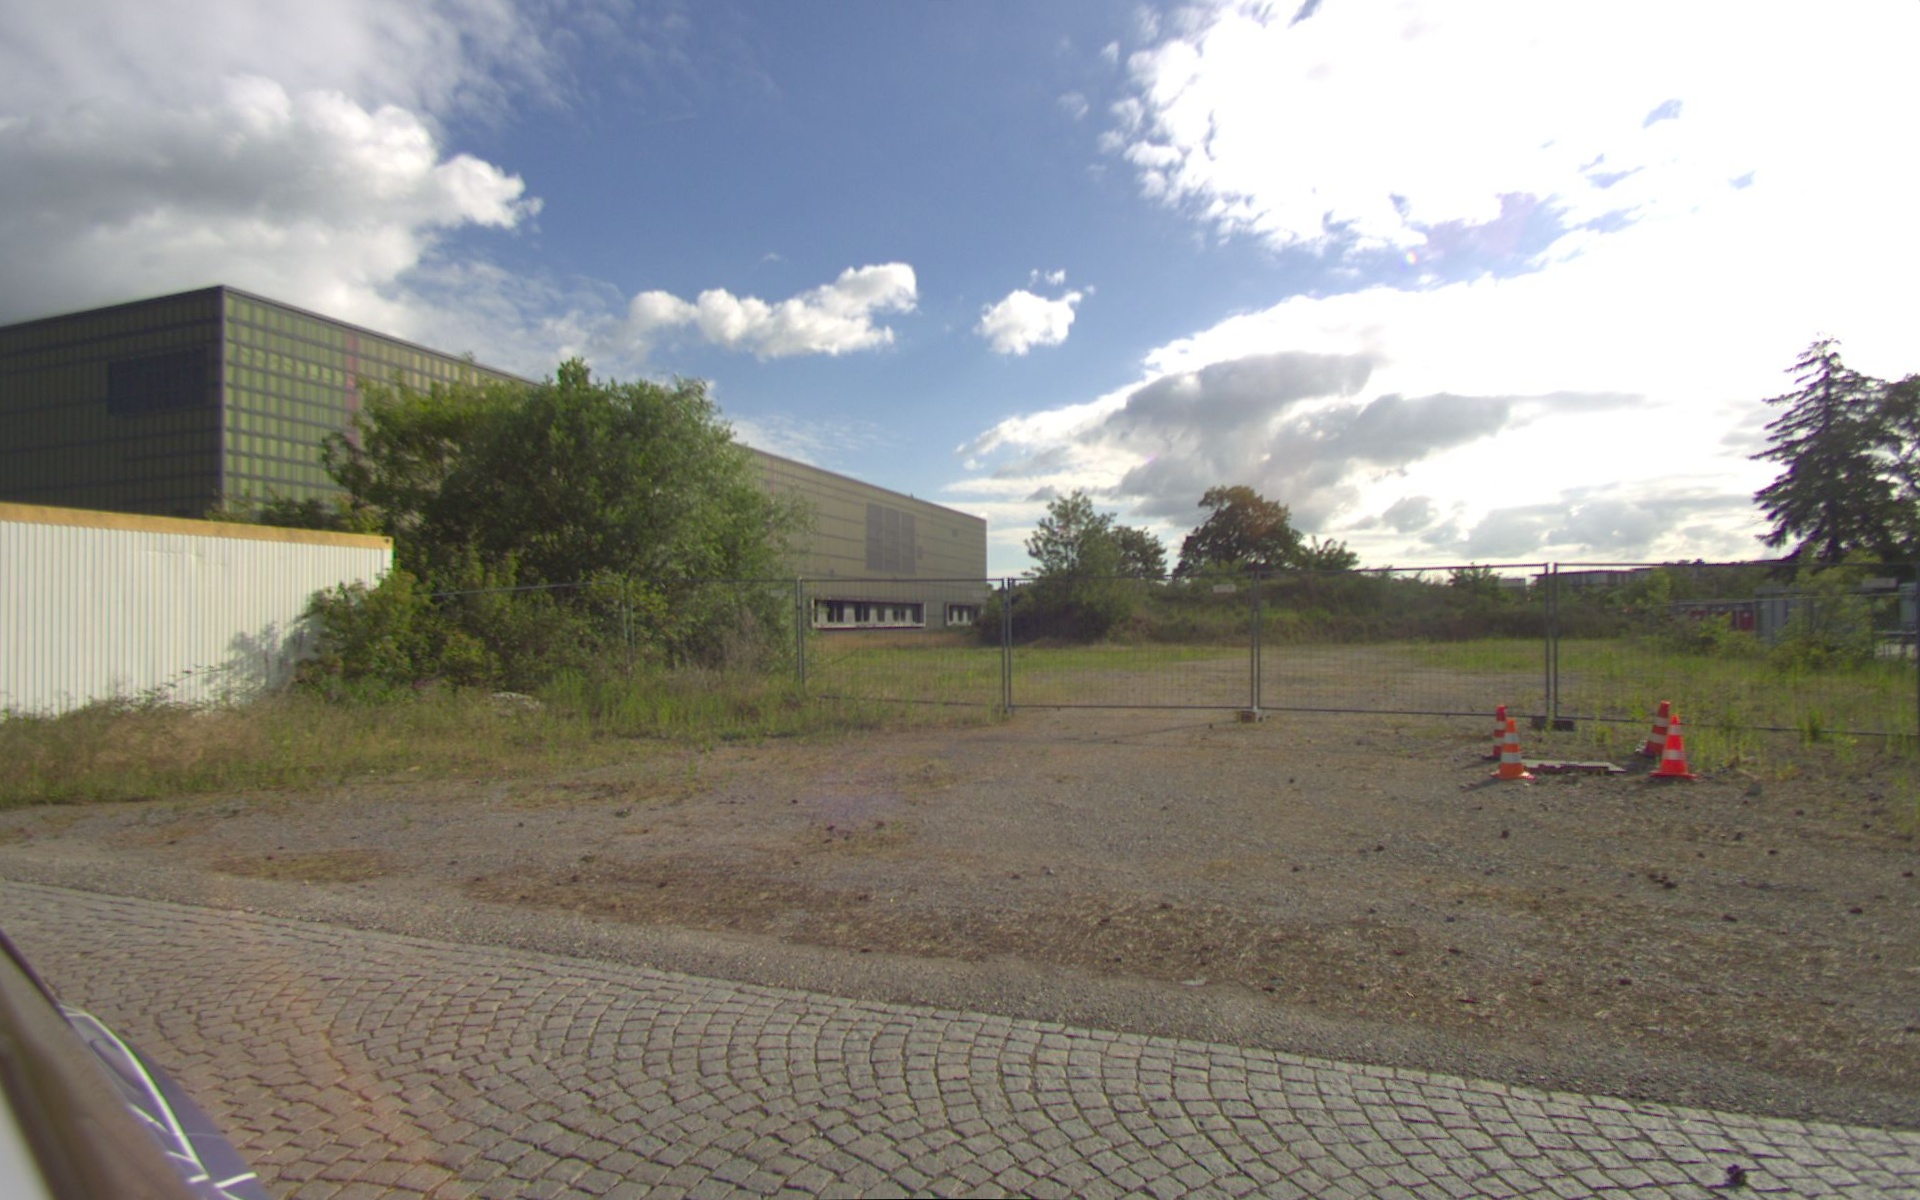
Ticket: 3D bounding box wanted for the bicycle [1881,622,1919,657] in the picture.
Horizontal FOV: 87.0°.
[{"bbox_3d":[29.485,1.180,30.672,2.052,1.052,0.940,-1,-2,18],"label":"bicycle"}]
